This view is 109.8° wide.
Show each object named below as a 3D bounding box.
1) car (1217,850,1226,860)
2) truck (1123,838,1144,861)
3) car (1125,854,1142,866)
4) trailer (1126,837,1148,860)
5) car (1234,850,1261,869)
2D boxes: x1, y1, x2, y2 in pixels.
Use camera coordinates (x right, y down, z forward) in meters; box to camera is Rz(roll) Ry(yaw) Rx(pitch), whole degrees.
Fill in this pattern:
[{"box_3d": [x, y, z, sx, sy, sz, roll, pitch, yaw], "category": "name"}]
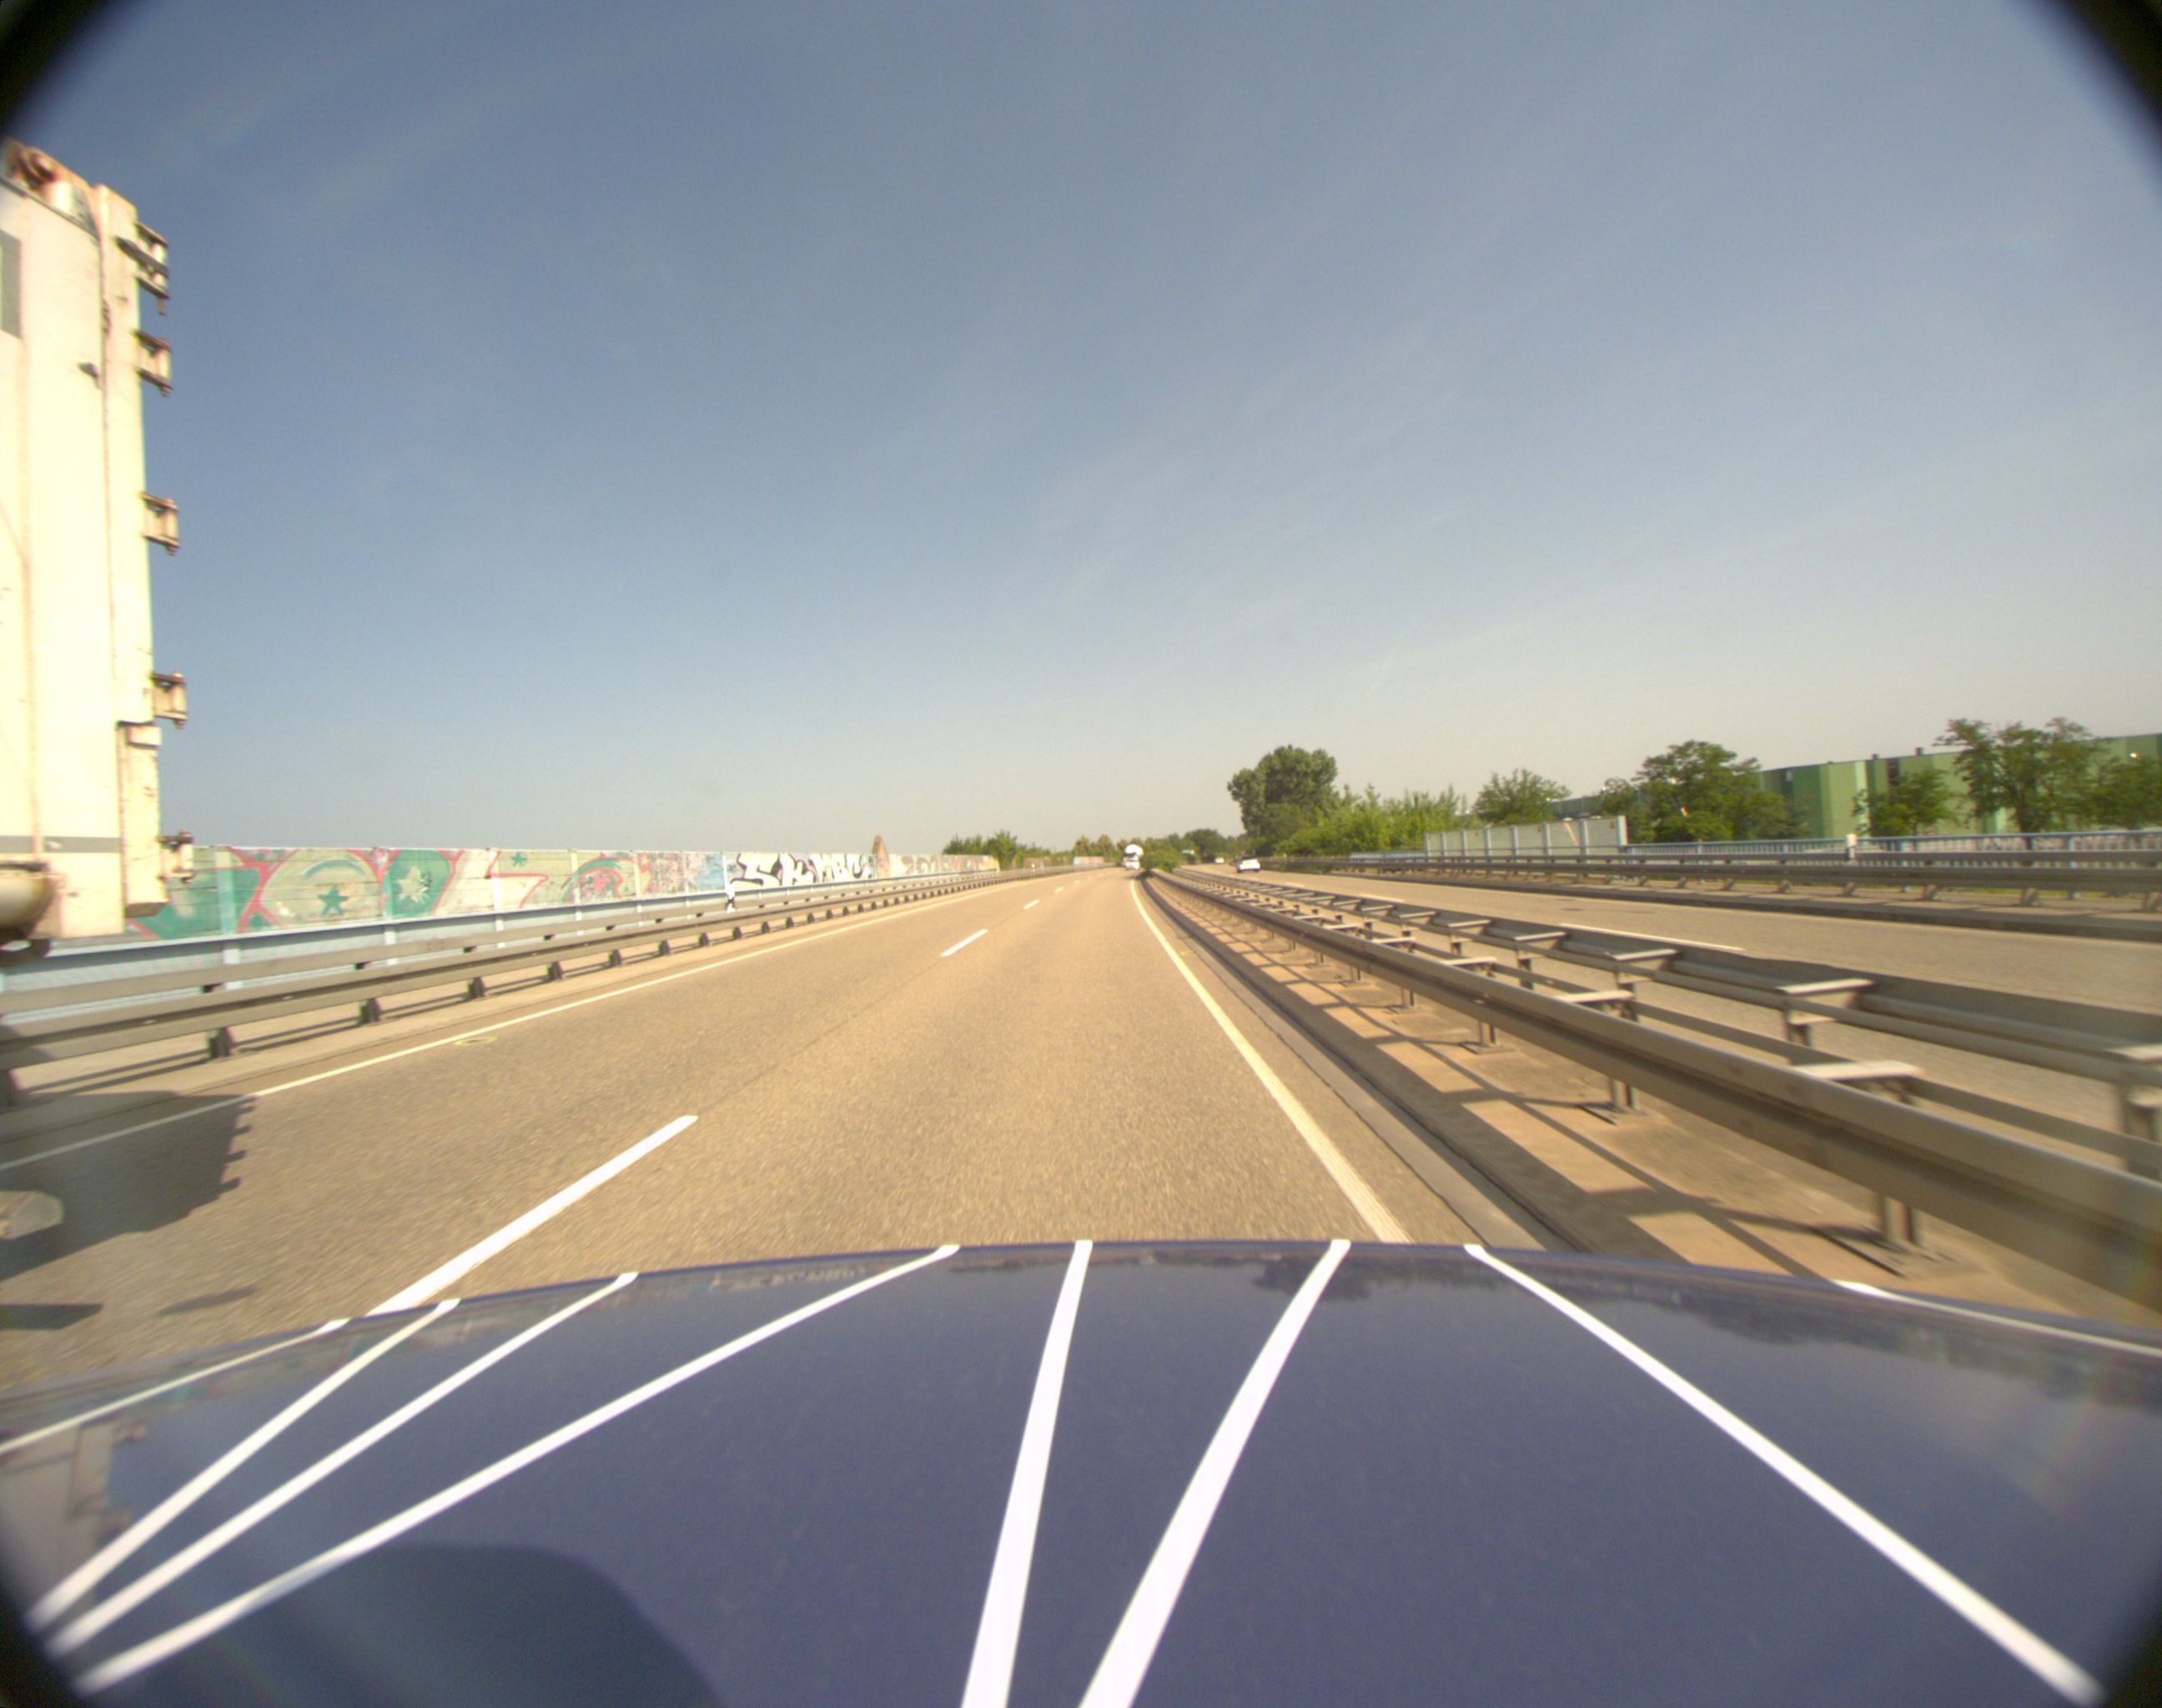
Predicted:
[{"box_3d": [29.349, 0.256, 159.021, 1.647, 2.002, 3.600, -3, 1, 10], "category": "car"}, {"box_3d": [9.342, -0.891, 135.450, 2.776, 3.938, 5.632, -2, 1, 12], "category": "truck"}, {"box_3d": [6.726, 0.733, 97.776, 1.788, 1.427, 4.002, -3, 0, 9], "category": "car"}, {"box_3d": [10.463, -1.024, 140.973, 2.761, 3.968, 8.193, -2, 0, 12], "category": "trailer"}, {"box_3d": [14.279, 0.452, 65.437, 1.651, 1.493, 4.001, -4, 0, 5], "category": "car"}]
